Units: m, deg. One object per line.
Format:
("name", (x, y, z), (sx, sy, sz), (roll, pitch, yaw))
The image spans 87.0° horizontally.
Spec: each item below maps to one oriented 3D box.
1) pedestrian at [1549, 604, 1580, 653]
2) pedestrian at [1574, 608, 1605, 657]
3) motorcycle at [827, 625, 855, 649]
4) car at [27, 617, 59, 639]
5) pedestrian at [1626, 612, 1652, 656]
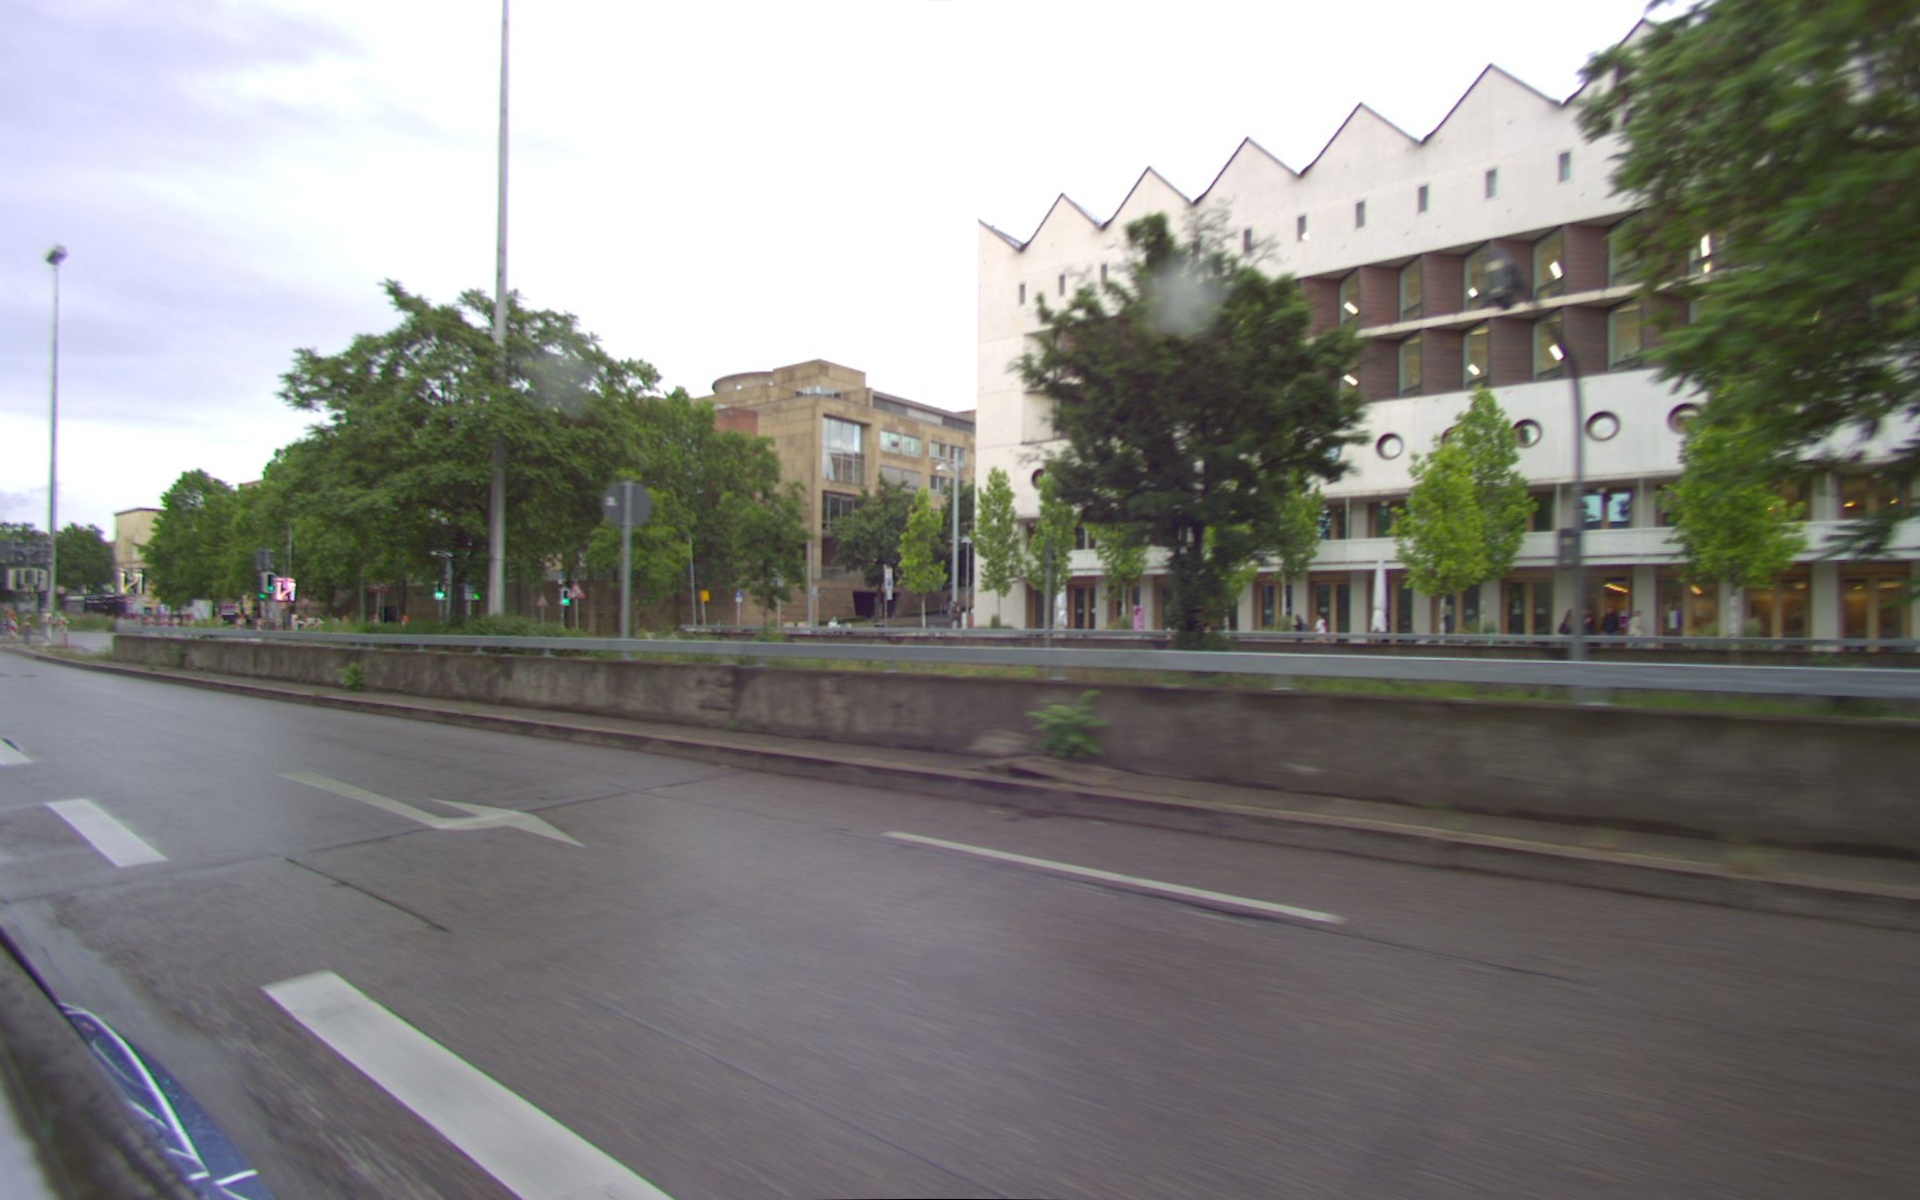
("pedestrian", (23.571, 1.089, 39.448), (0.729, 1.873, 0.703), (0, 0, -8))
("pedestrian", (24.483, 1.246, 39.351), (0.729, 1.873, 0.703), (0, 0, -8))
("motorcycle", (-6.218, 1.921, 53.066), (0.603, 1.191, 1.800), (-1, 0, 26))
("car", (-101.028, 3.020, 111.463), (4.224, 2.316, 1.974), (-1, 0, 39))
("pedestrian", (25.768, 1.295, 38.415), (0.702, 1.639, 0.729), (-1, 0, 45))
